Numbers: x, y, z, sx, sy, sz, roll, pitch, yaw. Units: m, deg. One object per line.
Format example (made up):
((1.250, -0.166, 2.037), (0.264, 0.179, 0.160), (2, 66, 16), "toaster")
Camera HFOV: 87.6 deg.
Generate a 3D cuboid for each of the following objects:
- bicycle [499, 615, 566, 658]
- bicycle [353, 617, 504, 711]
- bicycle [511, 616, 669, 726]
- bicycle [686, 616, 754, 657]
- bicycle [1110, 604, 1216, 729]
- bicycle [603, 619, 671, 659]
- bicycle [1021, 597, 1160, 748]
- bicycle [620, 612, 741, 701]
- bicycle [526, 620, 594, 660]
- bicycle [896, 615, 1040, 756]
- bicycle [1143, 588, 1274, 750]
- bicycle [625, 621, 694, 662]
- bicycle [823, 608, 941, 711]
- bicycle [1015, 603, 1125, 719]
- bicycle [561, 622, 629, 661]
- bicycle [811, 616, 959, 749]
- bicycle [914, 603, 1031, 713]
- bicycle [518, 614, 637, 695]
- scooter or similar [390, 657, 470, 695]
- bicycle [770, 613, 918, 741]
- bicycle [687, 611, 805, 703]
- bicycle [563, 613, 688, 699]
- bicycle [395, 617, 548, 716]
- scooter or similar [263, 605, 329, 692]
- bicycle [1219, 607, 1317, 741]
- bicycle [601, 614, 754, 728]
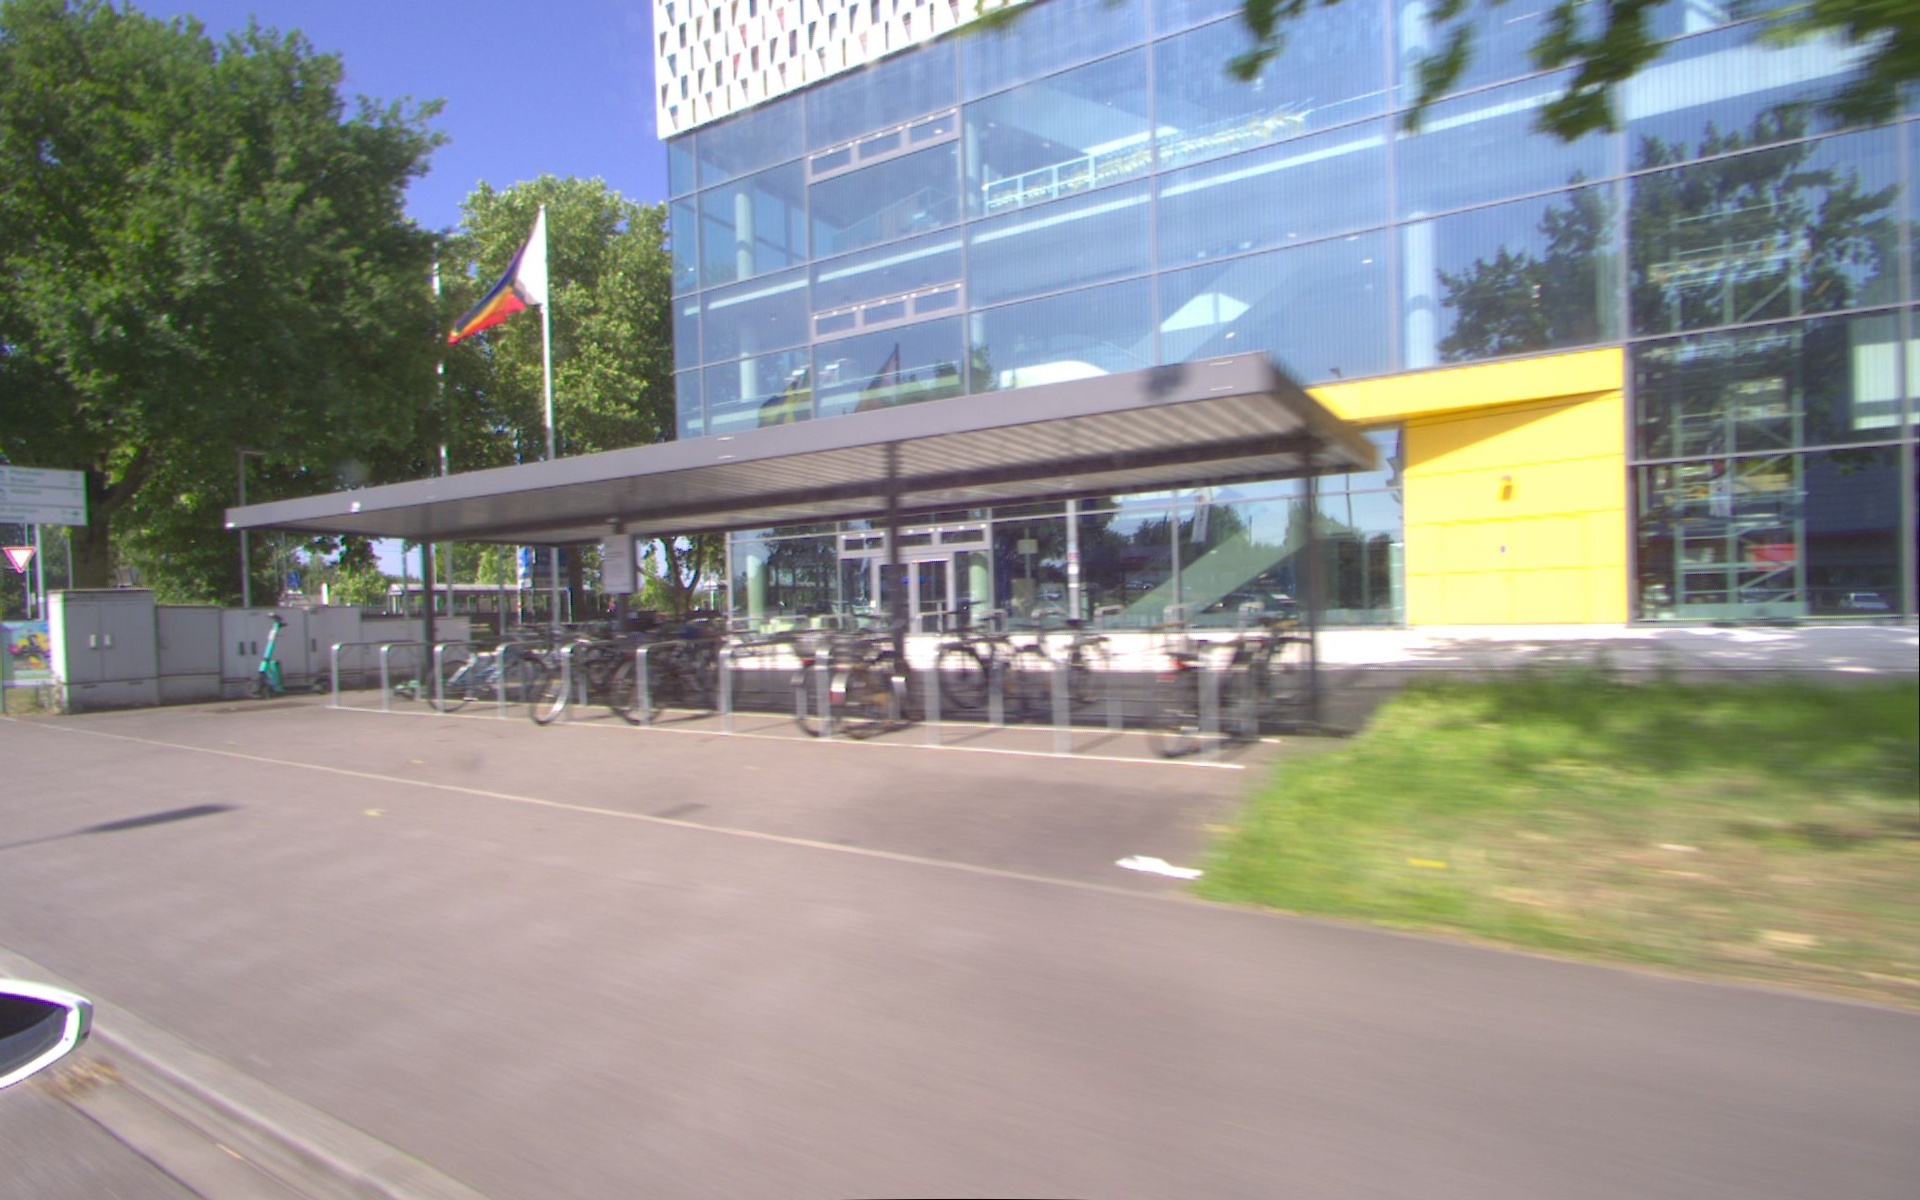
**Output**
((-10.626, 0.890, 24.935), (0.428, 1.008, 1.557), (0, 0, 34), "bicycle")
((-6.956, 0.809, 13.195), (0.445, 1.111, 1.754), (0, 1, 32), "bicycle")
((-4.141, 0.757, 11.333), (0.445, 1.111, 1.754), (0, 1, 32), "bicycle")
((-5.214, 0.780, 21.853), (0.428, 0.854, 1.557), (0, 0, 34), "bicycle")
((2.057, 0.612, 9.990), (0.445, 1.111, 1.754), (0, 1, 32), "bicycle")
((-7.397, 0.881, 22.998), (0.427, 0.854, 1.558), (0, 0, 32), "bicycle")
((1.130, 0.543, 8.361), (0.456, 1.111, 1.754), (0, 1, 32), "bicycle")
((-3.804, 0.737, 13.762), (0.445, 1.111, 1.754), (0, 1, 32), "bicycle")
((-9.700, 0.952, 24.347), (0.428, 0.922, 1.557), (0, 0, 34), "bicycle")
((0.116, 0.716, 9.059), (0.445, 1.111, 1.754), (0, 1, 32), "bicycle")
((1.972, 0.473, 7.784), (0.446, 1.111, 1.754), (0, 1, 32), "bicycle")
((-6.731, 0.920, 22.491), (0.428, 0.854, 1.557), (0, 0, 34), "bicycle")
((-0.897, 0.673, 12.008), (0.445, 1.111, 1.754), (0, 1, 32), "bicycle")
((1.211, 0.600, 10.672), (0.445, 1.111, 1.754), (0, 1, 32), "bicycle")
((-8.572, 0.959, 23.582), (0.428, 0.854, 1.557), (0, 0, 34), "bicycle")
((-0.664, 0.728, 9.538), (0.445, 1.111, 1.754), (0, 1, 32), "bicycle")
((0.175, 0.598, 11.178), (0.445, 1.111, 1.754), (0, 1, 32), "bicycle")
((-5.744, 0.783, 15.125), (0.445, 1.111, 1.754), (0, 1, 32), "bicycle")
((-7.979, 1.128, 15.072), (0.908, 0.457, 0.954), (-3, 1, -37), "scooter or similar")
((-1.096, 0.706, 9.880), (0.445, 1.111, 1.754), (0, 1, 32), "bicycle")
((-2.831, 0.727, 13.421), (0.445, 1.111, 1.754), (0, 1, 32), "bicycle")
((-4.775, 0.771, 14.431), (0.445, 1.111, 1.824), (0, 1, 32), "bicycle")
((-6.129, 0.799, 12.659), (0.445, 1.111, 1.754), (0, 1, 32), "bicycle")
((-10.151, 0.722, 15.325), (0.279, 1.282, 0.775), (0, 2, 29), "scooter or similar")
((2.918, 0.636, 9.387), (0.445, 1.111, 1.754), (0, 1, 32), "bicycle")
((-3.048, 0.734, 10.980), (0.445, 1.111, 1.754), (0, 1, 32), "bicycle")
